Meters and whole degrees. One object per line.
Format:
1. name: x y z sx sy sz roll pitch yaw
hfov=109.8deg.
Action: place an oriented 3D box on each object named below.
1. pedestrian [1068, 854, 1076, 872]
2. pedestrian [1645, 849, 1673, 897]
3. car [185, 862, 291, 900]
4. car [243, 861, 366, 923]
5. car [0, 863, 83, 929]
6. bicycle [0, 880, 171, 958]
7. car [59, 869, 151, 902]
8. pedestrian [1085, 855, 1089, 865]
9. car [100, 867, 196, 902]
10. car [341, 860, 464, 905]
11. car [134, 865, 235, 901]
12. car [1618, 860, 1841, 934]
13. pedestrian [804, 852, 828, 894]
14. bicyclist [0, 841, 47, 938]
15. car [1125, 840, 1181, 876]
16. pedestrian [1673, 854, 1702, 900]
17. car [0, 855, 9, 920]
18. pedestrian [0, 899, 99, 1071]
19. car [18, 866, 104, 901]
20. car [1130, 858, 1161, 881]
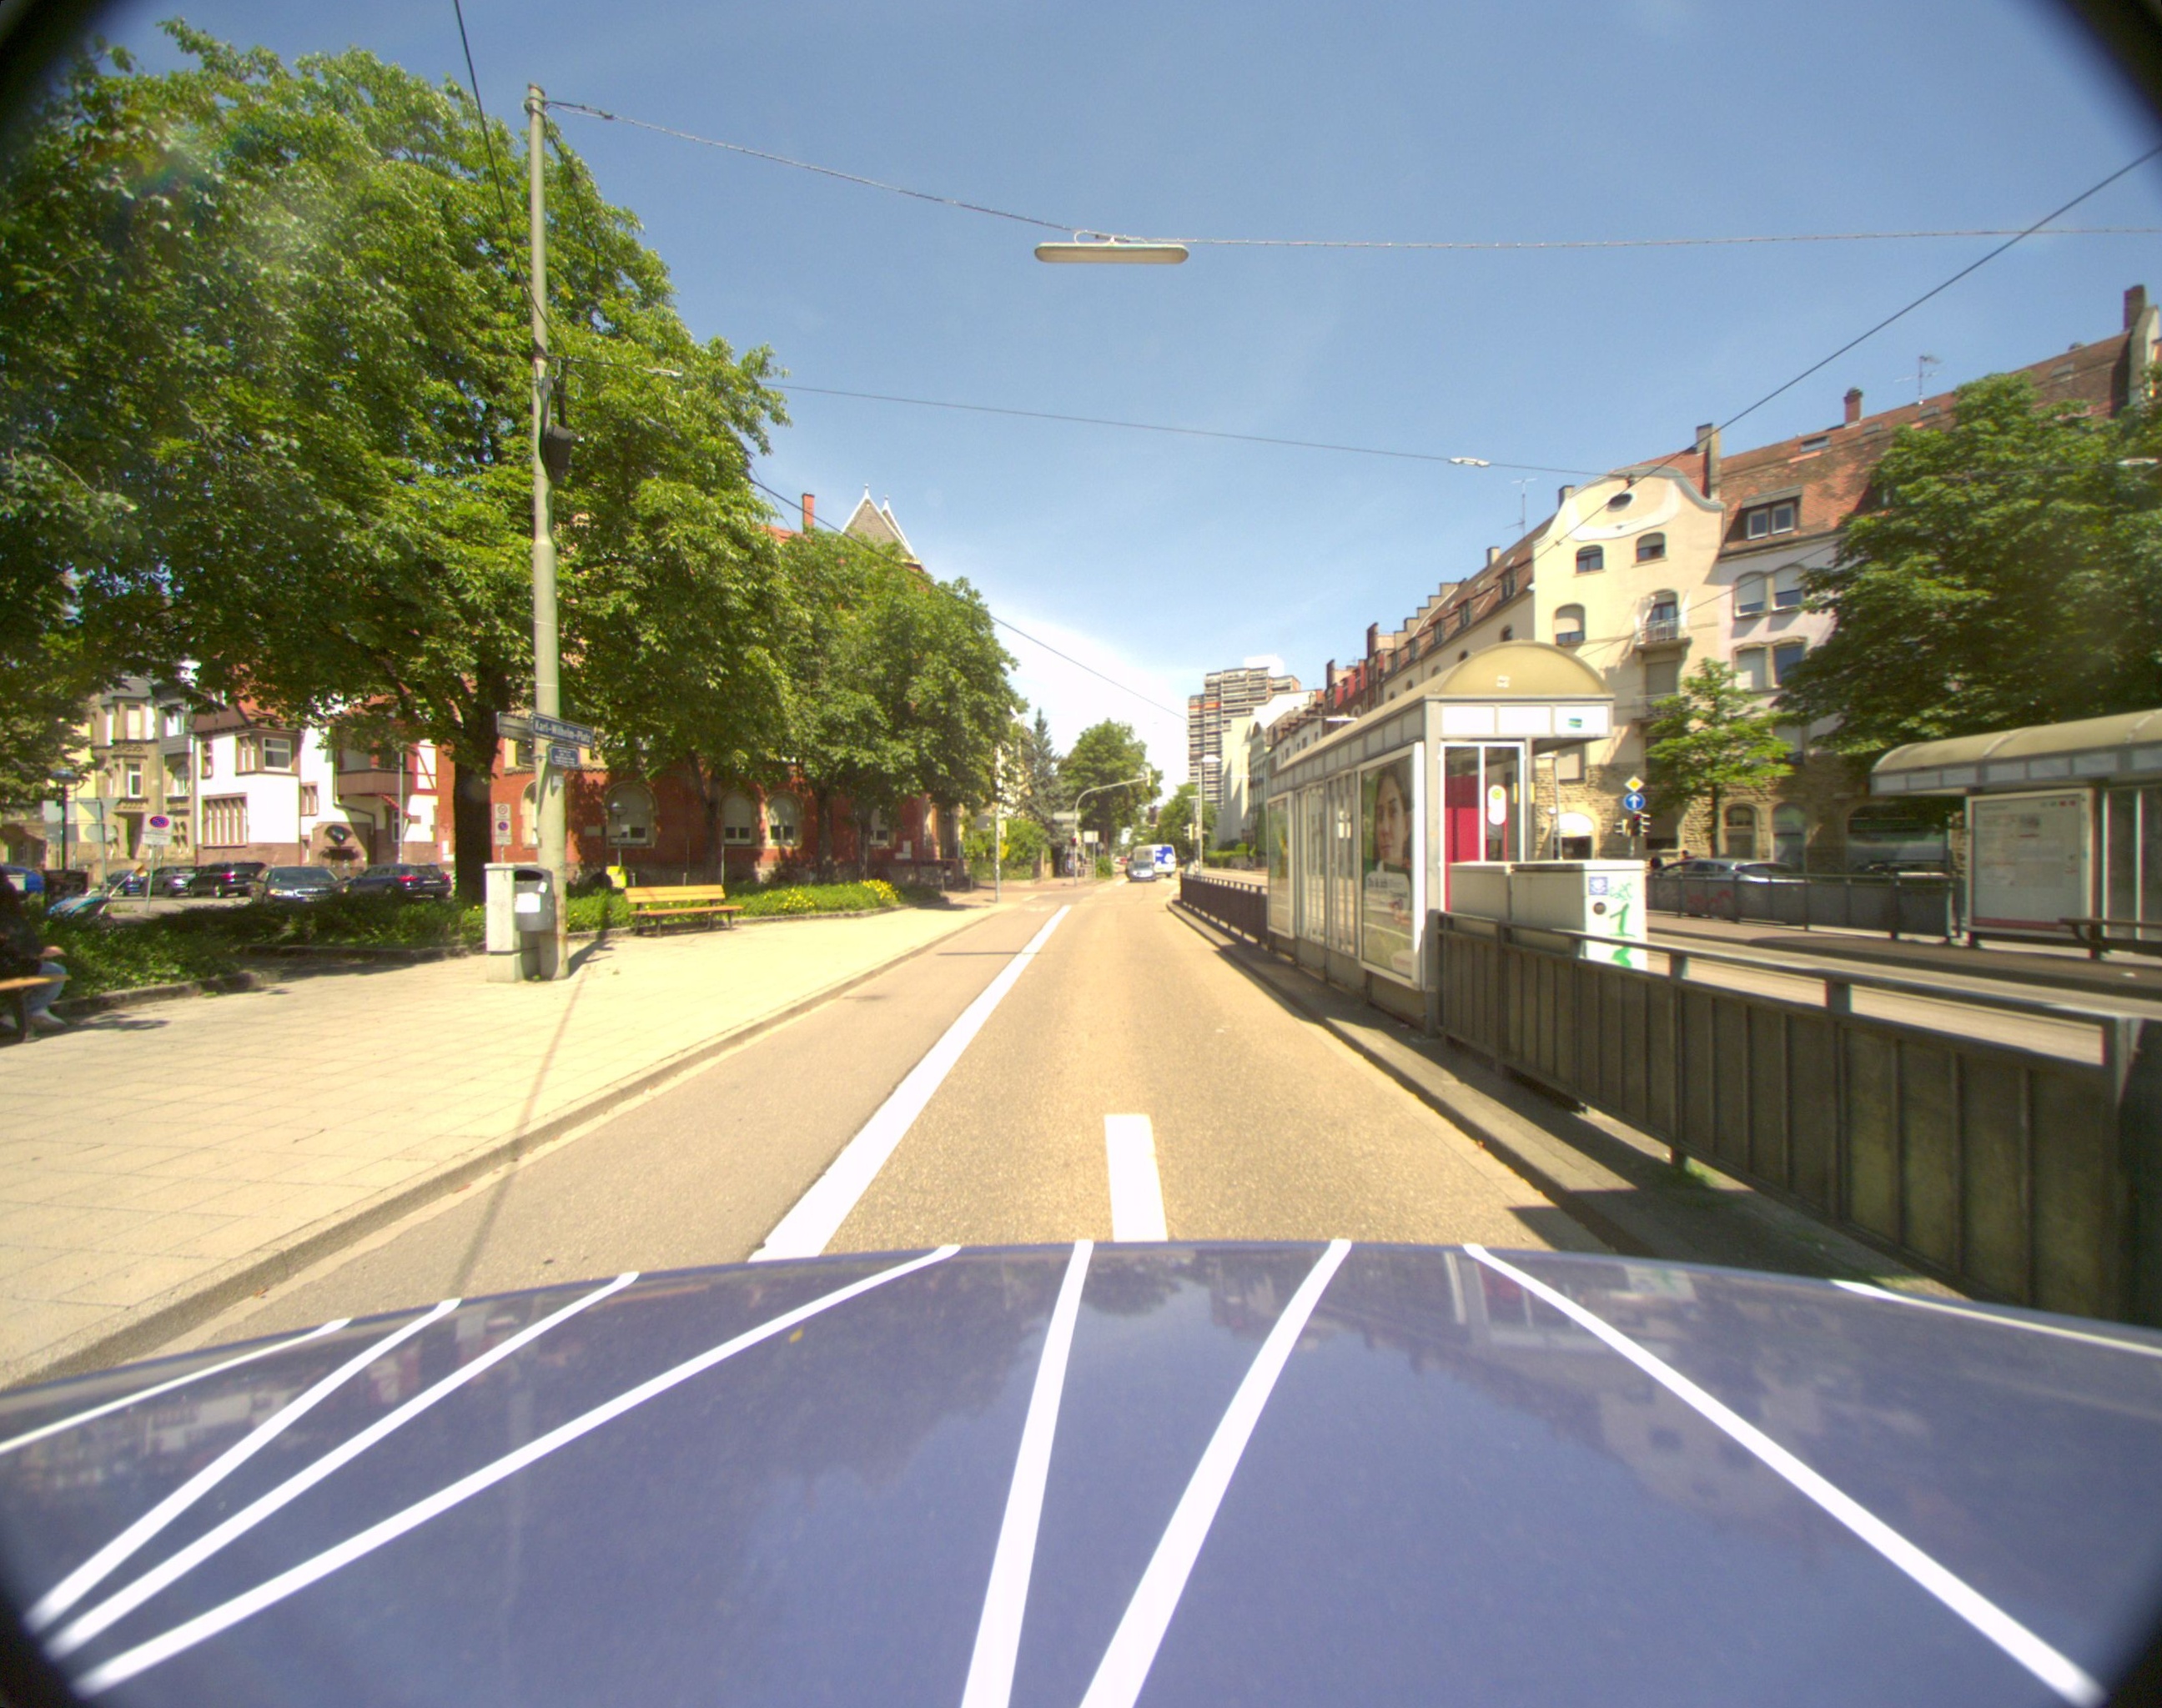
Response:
1. pedestrian: -0.851 0.821 71.134 0.702 1.645 0.665 0 0 1
2. pedestrian: 20.152 0.653 26.501 0.594 1.637 0.474 0 0 1
3. car: -39.588 1.274 35.671 4.299 1.608 1.941 -2 1 23
4. car: -23.198 1.093 22.664 4.512 1.608 1.942 -2 1 37
5. car: -32.842 1.301 22.031 1.934 1.869 4.315 -2 1 23
6. bicycle: -19.441 1.196 14.042 0.955 1.256 3.742 -2 1 -5
7. car: -53.022 1.726 41.273 4.299 1.608 1.941 -2 1 23
8. pedestrian: 1.000 1.040 129.321 0.686 1.732 0.660 -2 1 3
9. car: -48.421 1.570 39.438 4.299 1.608 1.941 -2 1 23
10. car: -27.042 1.133 30.292 4.299 1.608 1.941 -2 1 23
11. car: -44.148 1.429 37.416 4.299 1.608 1.941 -2 1 23
12. car: 14.840 0.913 17.732 1.812 1.386 3.999 -2 1 1
13. pedestrian: -11.729 0.826 33.637 0.840 1.813 0.672 -1 1 -37
14. bicyclist: -19.359 0.634 13.243 0.874 1.686 1.253 -2 1 -4
15. car: 5.656 0.316 60.726 2.276 2.658 5.818 -3 1 -18
16. pedestrian: 20.289 0.757 25.431 0.594 1.542 0.474 0 0 -1
17. car: -37.658 1.200 23.799 1.934 2.178 4.315 -2 1 23
18. pedestrian: -7.741 0.913 5.423 0.566 1.136 0.725 0 1 -16
19. car: -59.177 1.707 44.083 4.299 1.862 1.941 -2 1 23
20. car: 4.313 0.993 50.841 1.895 1.372 4.001 -2 1 5
